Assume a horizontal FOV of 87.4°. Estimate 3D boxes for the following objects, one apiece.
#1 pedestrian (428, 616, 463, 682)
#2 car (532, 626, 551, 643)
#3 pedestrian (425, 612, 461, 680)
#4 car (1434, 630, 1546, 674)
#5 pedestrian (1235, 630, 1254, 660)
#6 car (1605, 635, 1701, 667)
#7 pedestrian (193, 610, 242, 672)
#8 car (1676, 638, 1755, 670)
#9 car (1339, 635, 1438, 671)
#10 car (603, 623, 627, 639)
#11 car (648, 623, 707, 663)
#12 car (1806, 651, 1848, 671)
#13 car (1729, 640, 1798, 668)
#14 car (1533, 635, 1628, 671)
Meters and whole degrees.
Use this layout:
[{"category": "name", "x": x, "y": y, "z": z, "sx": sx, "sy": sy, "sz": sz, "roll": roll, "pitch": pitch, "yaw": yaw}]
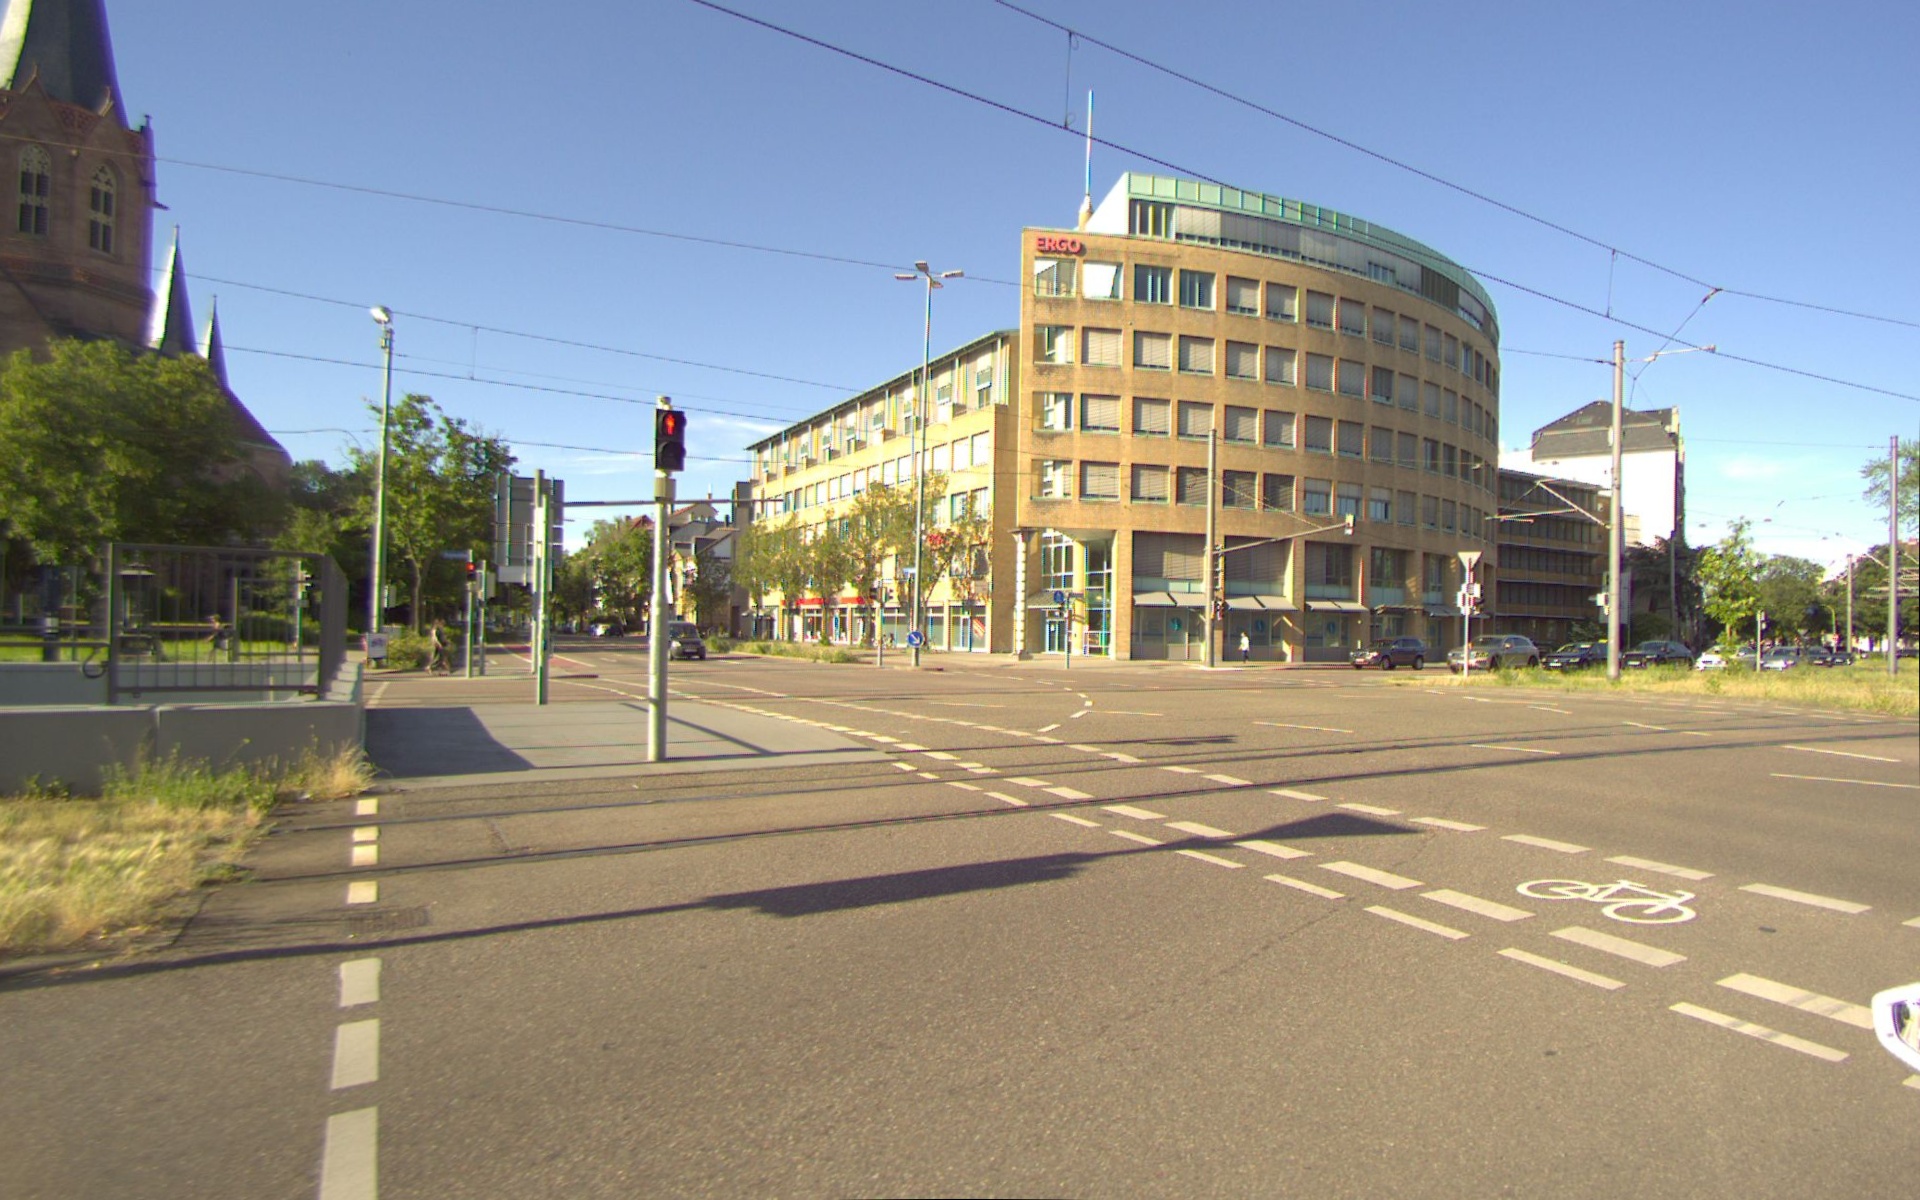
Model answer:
[{"category": "pedestrian", "x": -16.530, "y": 1.566, "z": 32.251, "sx": 0.914, "sy": 2.040, "sz": 0.872, "roll": 2, "pitch": 0, "yaw": -30}, {"category": "car", "x": -44.418, "y": 3.642, "z": 106.548, "sx": 1.744, "sy": 1.595, "sz": 4.686, "roll": 2, "pitch": 0, "yaw": -23}, {"category": "pedestrian", "x": -16.173, "y": 1.433, "z": 31.409, "sx": 0.914, "sy": 2.040, "sz": 0.872, "roll": 2, "pitch": 0, "yaw": -30}, {"category": "car", "x": 22.924, "y": 2.226, "z": 43.420, "sx": 5.031, "sy": 1.757, "sz": 2.088, "roll": 2, "pitch": -1, "yaw": -33}, {"category": "pedestrian", "x": 15.154, "y": 2.408, "z": 53.420, "sx": 0.702, "sy": 1.552, "sz": 0.596, "roll": 2, "pitch": 0, "yaw": -22}, {"category": "car", "x": 35.647, "y": 2.627, "z": 51.650, "sx": 4.958, "sy": 1.467, "sz": 1.985, "roll": 3, "pitch": 0, "yaw": -28}, {"category": "pedestrian", "x": -23.151, "y": 1.272, "z": 31.337, "sx": 1.103, "sy": 1.871, "sz": 0.837, "roll": 2, "pitch": 0, "yaw": -33}, {"category": "car", "x": 41.702, "y": 2.975, "z": 55.397, "sx": 4.606, "sy": 1.617, "sz": 1.982, "roll": 3, "pitch": 0, "yaw": -33}, {"category": "car", "x": 22.423, "y": 2.785, "z": 52.534, "sx": 5.152, "sy": 1.690, "sz": 2.107, "roll": 3, "pitch": 0, "yaw": -31}, {"category": "car", "x": -40.550, "y": 3.600, "z": 118.002, "sx": 1.816, "sy": 1.595, "sz": 3.911, "roll": 2, "pitch": 0, "yaw": -30}, {"category": "car", "x": -13.119, "y": 1.985, "z": 46.523, "sx": 1.815, "sy": 1.595, "sz": 3.914, "roll": 2, "pitch": 0, "yaw": -28}, {"category": "car", "x": 81.217, "y": 5.691, "z": 94.089, "sx": 4.242, "sy": 1.532, "sz": 1.980, "roll": 6, "pitch": -3, "yaw": -35}, {"category": "car", "x": 46.875, "y": 3.141, "z": 58.584, "sx": 4.466, "sy": 1.446, "sz": 1.980, "roll": 3, "pitch": 0, "yaw": -35}, {"category": "car", "x": 29.184, "y": 2.495, "z": 47.207, "sx": 4.611, "sy": 1.537, "sz": 1.982, "roll": 3, "pitch": 0, "yaw": -32}]
